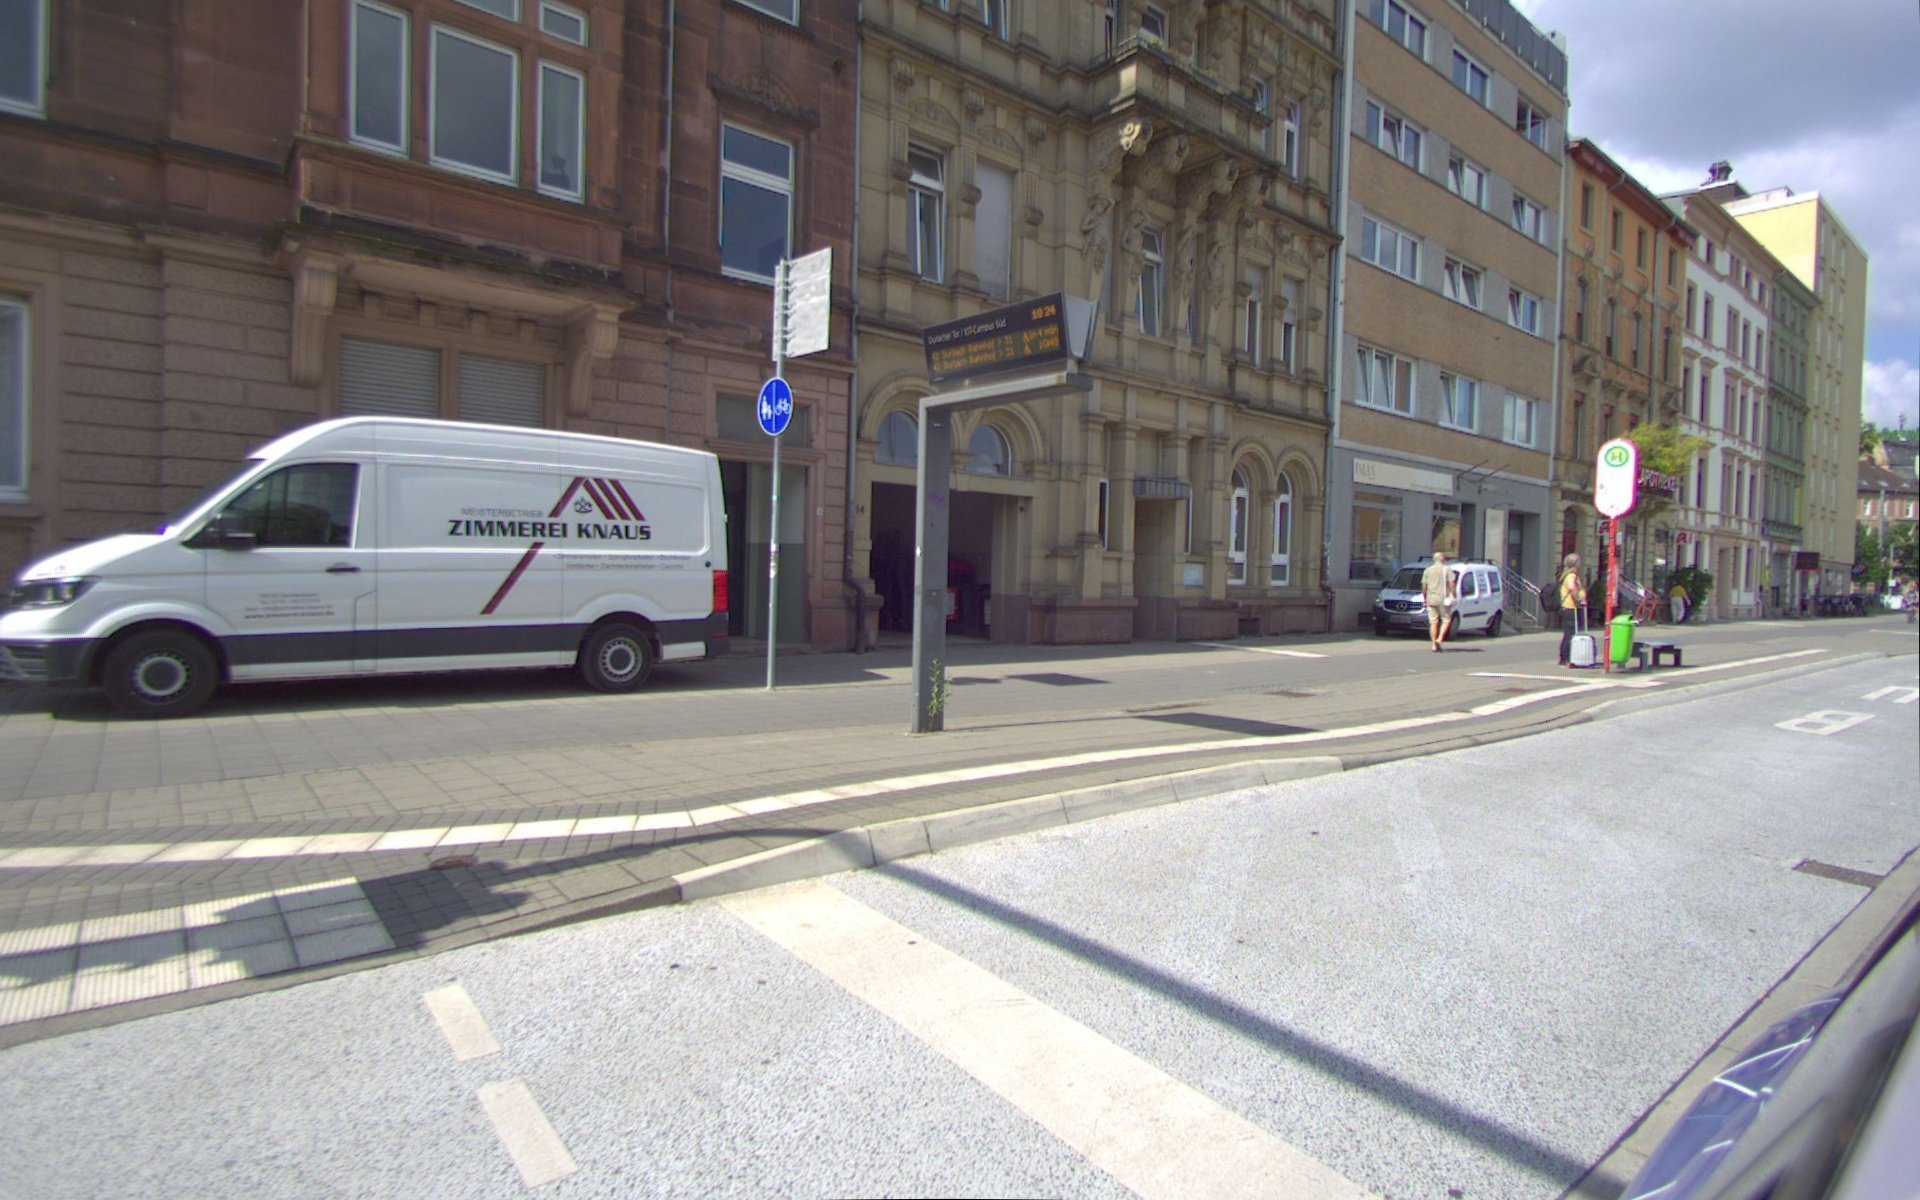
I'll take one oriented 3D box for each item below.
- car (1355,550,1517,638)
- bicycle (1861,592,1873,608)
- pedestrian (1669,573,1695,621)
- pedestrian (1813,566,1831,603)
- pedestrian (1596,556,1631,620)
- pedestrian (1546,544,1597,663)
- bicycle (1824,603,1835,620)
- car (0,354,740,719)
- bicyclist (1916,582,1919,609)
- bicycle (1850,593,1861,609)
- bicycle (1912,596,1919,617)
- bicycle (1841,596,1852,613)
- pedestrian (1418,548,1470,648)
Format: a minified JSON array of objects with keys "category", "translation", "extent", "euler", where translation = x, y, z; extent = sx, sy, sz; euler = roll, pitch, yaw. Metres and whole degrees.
[{"category":"car","translation":[11.404,-0.198,24.086],"extent":[1.995,1.885,4.676],"euler":[3,3,45]},{"category":"bicycle","translation":[54.074,0.024,60.328],"extent":[1.438,0.934,0.293],"euler":[1,1,-39]},{"category":"pedestrian","translation":[26.901,-0.110,37.712],"extent":[0.601,1.719,0.580],"euler":[3,-1,-39]},{"category":"pedestrian","translation":[47.670,-0.851,55.957],"extent":[0.452,2.039,0.603],"euler":[3,-1,-39]},{"category":"pedestrian","translation":[22.480,-0.409,34.826],"extent":[0.772,2.126,0.723],"euler":[3,0,-39]},{"category":"pedestrian","translation":[10.221,0.049,16.916],"extent":[0.660,1.926,0.687],"euler":[3,2,32]},{"category":"bicycle","translation":[50.106,0.658,58.309],"extent":[1.439,0.934,0.293],"euler":[1,1,-42]},{"category":"car","translation":[-5.209,-0.470,9.663],"extent":[5.783,2.557,1.998],"euler":[0,2,-40]},{"category":"bicyclist","translation":[52.165,-0.235,54.620],"extent":[0.730,1.455,0.655],"euler":[0,2,-39]},{"category":"bicycle","translation":[52.356,0.059,59.186],"extent":[1.439,0.934,0.293],"euler":[2,0,-42]},{"category":"bicycle","translation":[51.991,0.353,54.534],"extent":[2.290,1.134,0.663],"euler":[0,2,-40]},{"category":"bicycle","translation":[50.464,0.241,57.581],"extent":[1.439,0.934,0.293],"euler":[1,1,-42]},{"category":"pedestrian","translation":[9.277,-0.045,19.413],"extent":[0.663,1.859,0.683],"euler":[3,2,44]}]
